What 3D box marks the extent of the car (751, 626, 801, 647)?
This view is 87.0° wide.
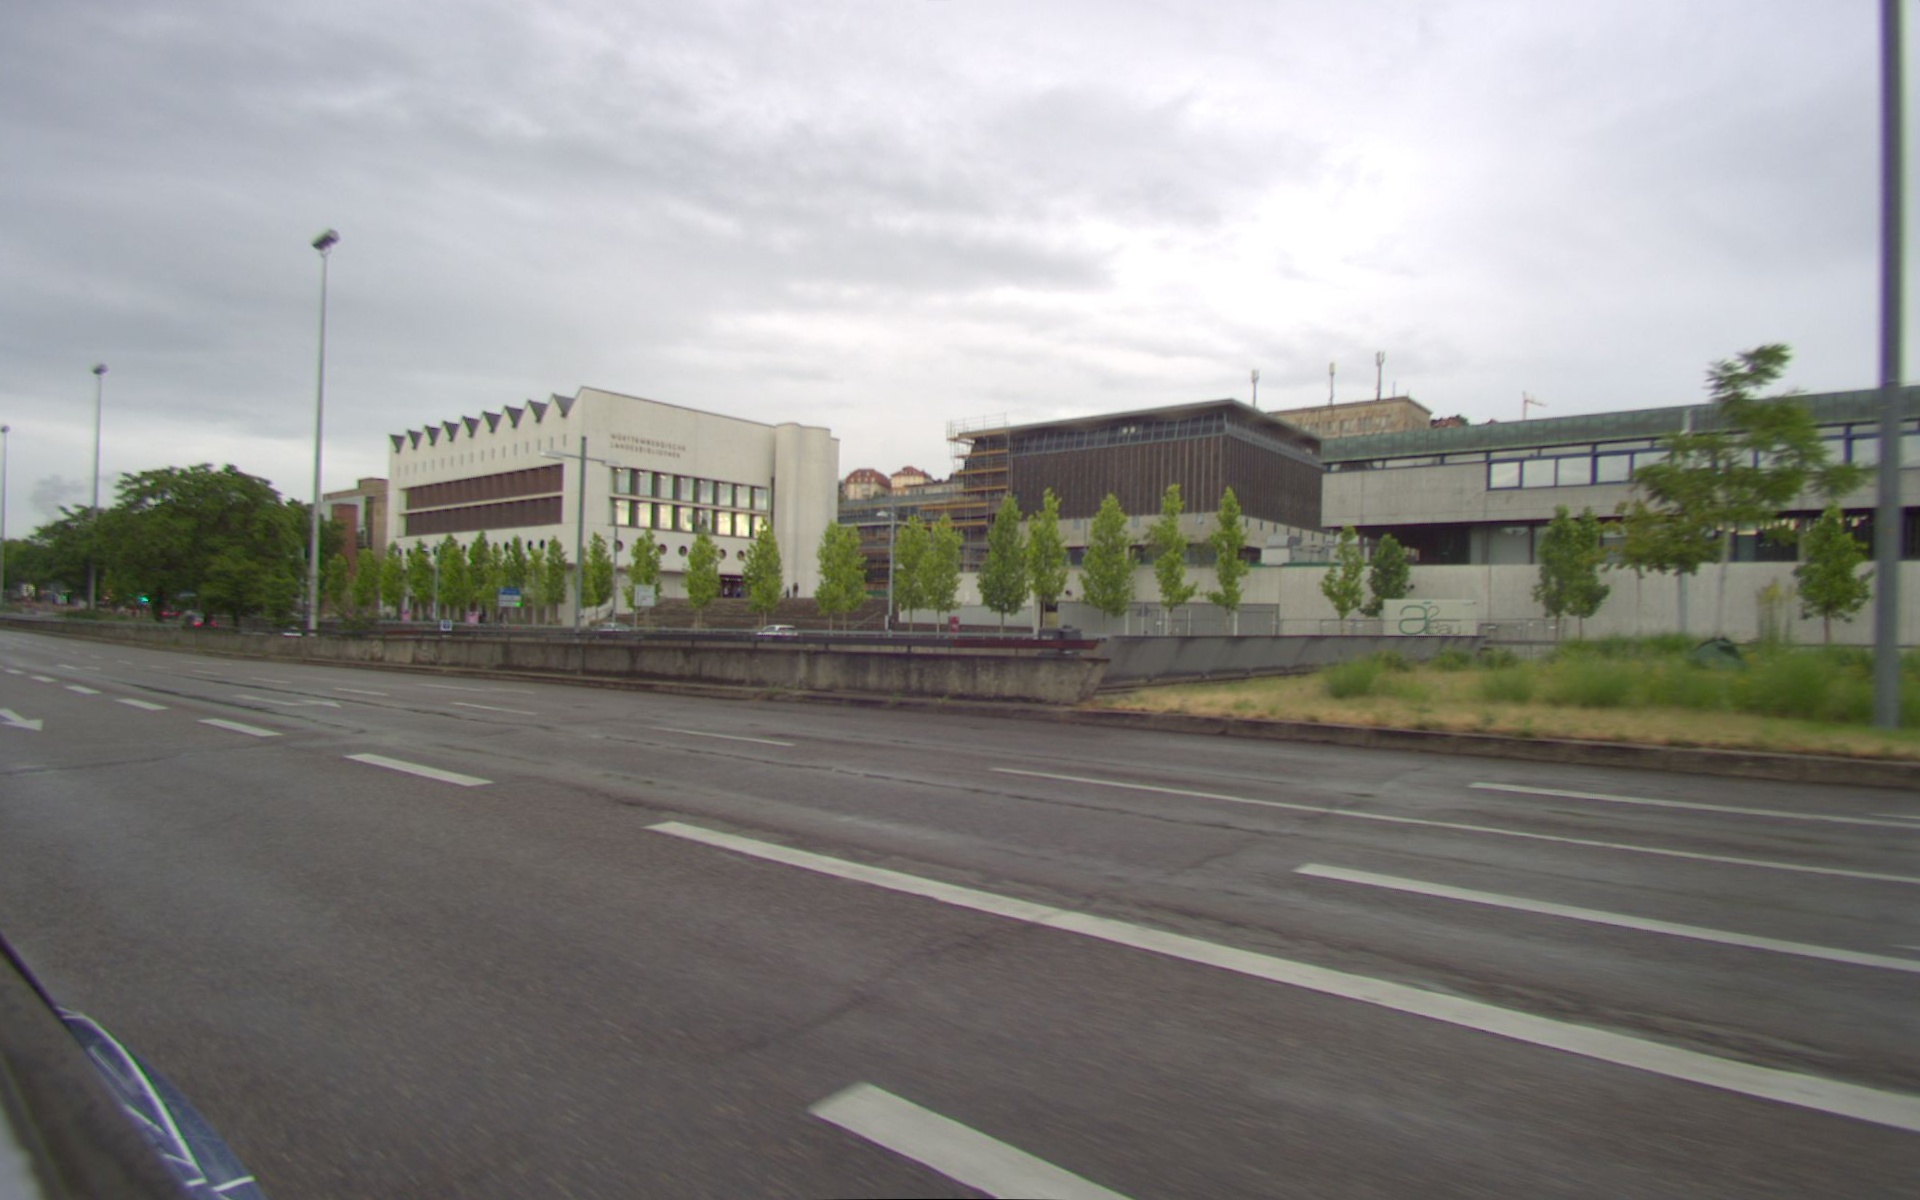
[{"bbox_3d":[-11.233,2.217,61.848,3.019,1.122,1.425,0,0,40],"label":"car"}]

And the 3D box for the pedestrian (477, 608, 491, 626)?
[{"bbox_3d":[-48.749,1.750,103.638,1.072,1.880,0.830,0,0,-43],"label":"pedestrian"}]

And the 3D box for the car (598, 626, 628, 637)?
[{"bbox_3d":[-24.996,2.272,72.852,2.550,0.751,0.811,0,0,38],"label":"car"}]

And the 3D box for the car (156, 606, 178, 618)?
[{"bbox_3d":[-109.402,1.643,139.564,3.472,1.567,1.677,0,0,39],"label":"car"}]
